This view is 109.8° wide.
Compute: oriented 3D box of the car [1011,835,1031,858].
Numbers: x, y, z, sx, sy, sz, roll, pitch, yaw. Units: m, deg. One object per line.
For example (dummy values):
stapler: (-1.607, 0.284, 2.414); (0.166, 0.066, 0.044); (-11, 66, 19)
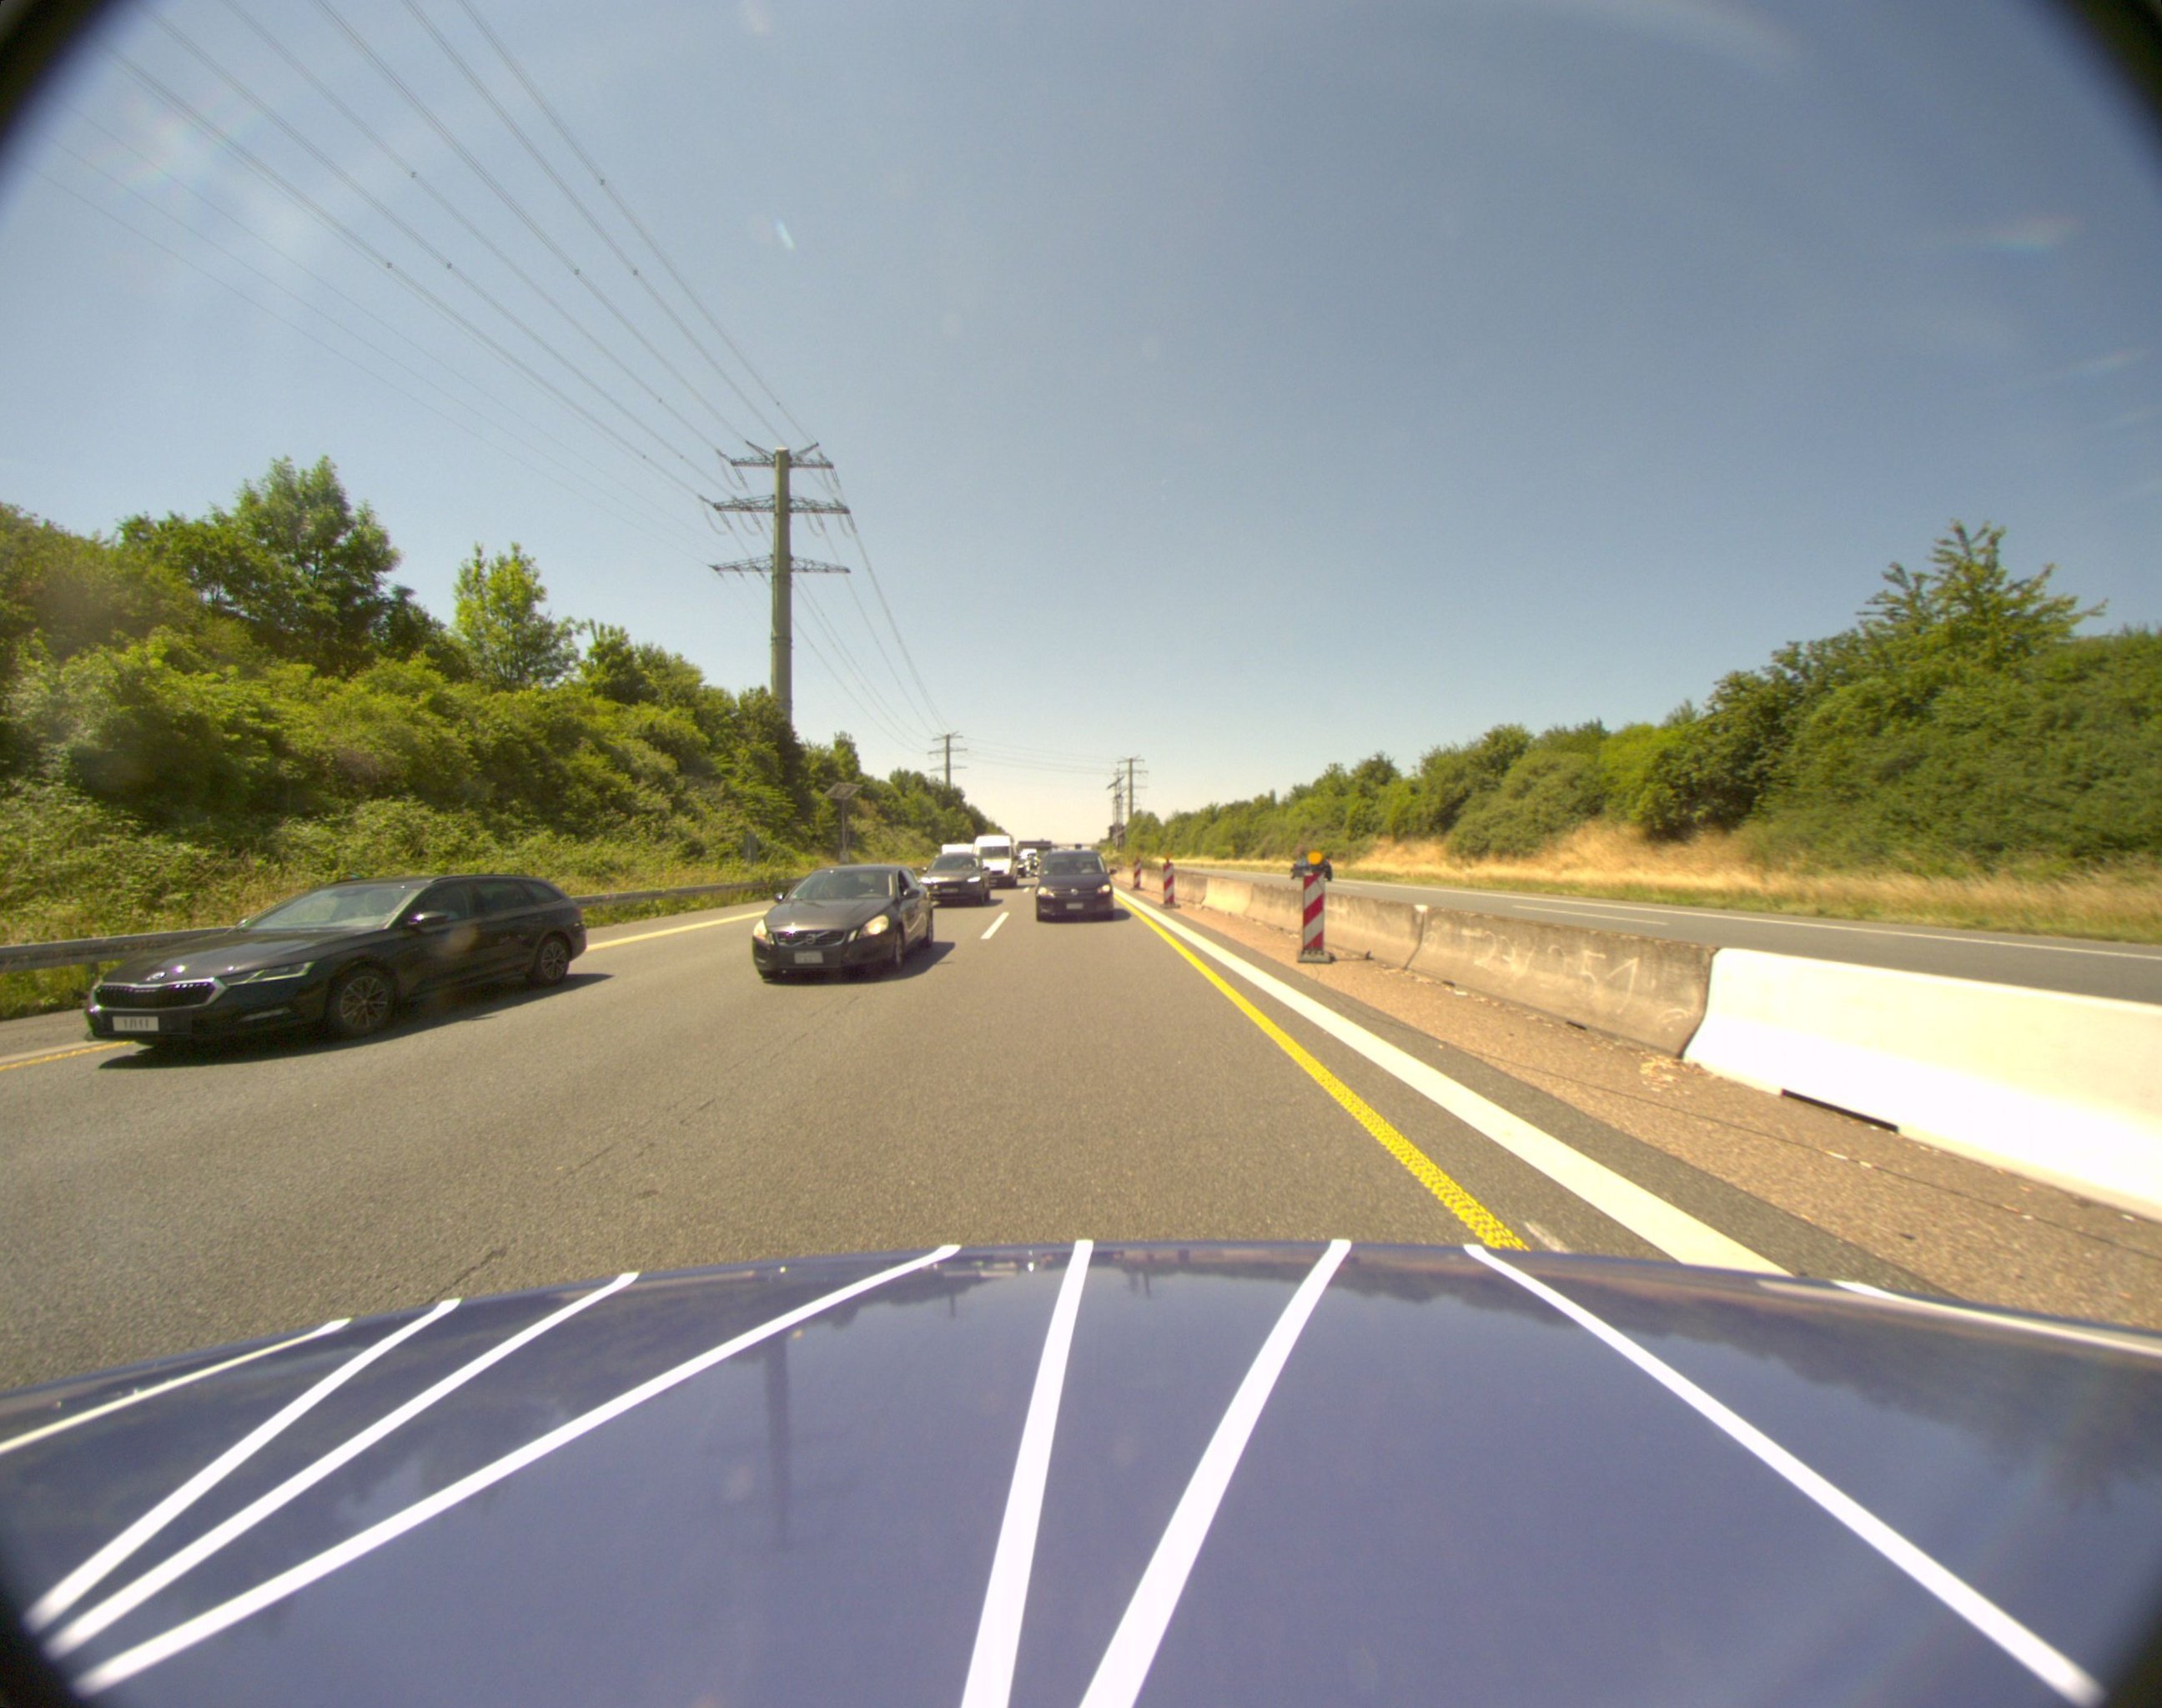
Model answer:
car: (-10.426, -1.292, 132.699); (2.397, 3.779, 10.271); (-2, 1, 0)

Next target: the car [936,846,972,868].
car: (-8.935, 0.191, 53.598); (1.801, 1.399, 4.209); (2, 1, 0)

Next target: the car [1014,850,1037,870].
car: (-4.786, 0.468, 65.594); (1.745, 1.659, 4.156); (-1, 0, -2)

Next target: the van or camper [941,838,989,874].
van or camper: (-9.011, 0.124, 59.935); (2.432, 2.549, 8.416); (-2, 1, 0)

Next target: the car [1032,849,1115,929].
car: (-0.108, 0.736, 18.611); (1.675, 1.619, 4.690); (-3, 0, 1)

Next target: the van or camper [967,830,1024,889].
van or camper: (-3.997, 0.224, 36.498); (1.998, 2.604, 5.628); (0, 1, 1)

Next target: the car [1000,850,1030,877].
car: (-4.465, 0.610, 51.750); (1.745, 1.659, 4.156); (-1, 0, -2)

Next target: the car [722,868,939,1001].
car: (-3.341, 0.988, 11.012); (1.799, 1.433, 3.999); (-2, 0, 0)

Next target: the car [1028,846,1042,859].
car: (-6.384, -0.196, 106.163); (1.745, 1.659, 4.156); (-1, 0, -2)

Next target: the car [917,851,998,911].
car: (-3.777, 0.767, 23.932); (1.744, 1.659, 4.157); (-1, 0, 1)

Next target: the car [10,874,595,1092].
car: (-7.531, 1.067, 8.209); (1.784, 1.480, 4.462); (-2, 1, -3)

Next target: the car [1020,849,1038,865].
car: (-5.508, 0.323, 81.309); (1.745, 1.659, 4.156); (-1, 0, -2)

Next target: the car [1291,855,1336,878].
car: (14.420, 0.781, 47.266); (1.771, 1.346, 3.513); (0, 0, 1)

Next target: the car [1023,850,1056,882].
car: (-2.299, 0.632, 43.290); (1.745, 1.659, 4.156); (-1, 0, -2)
